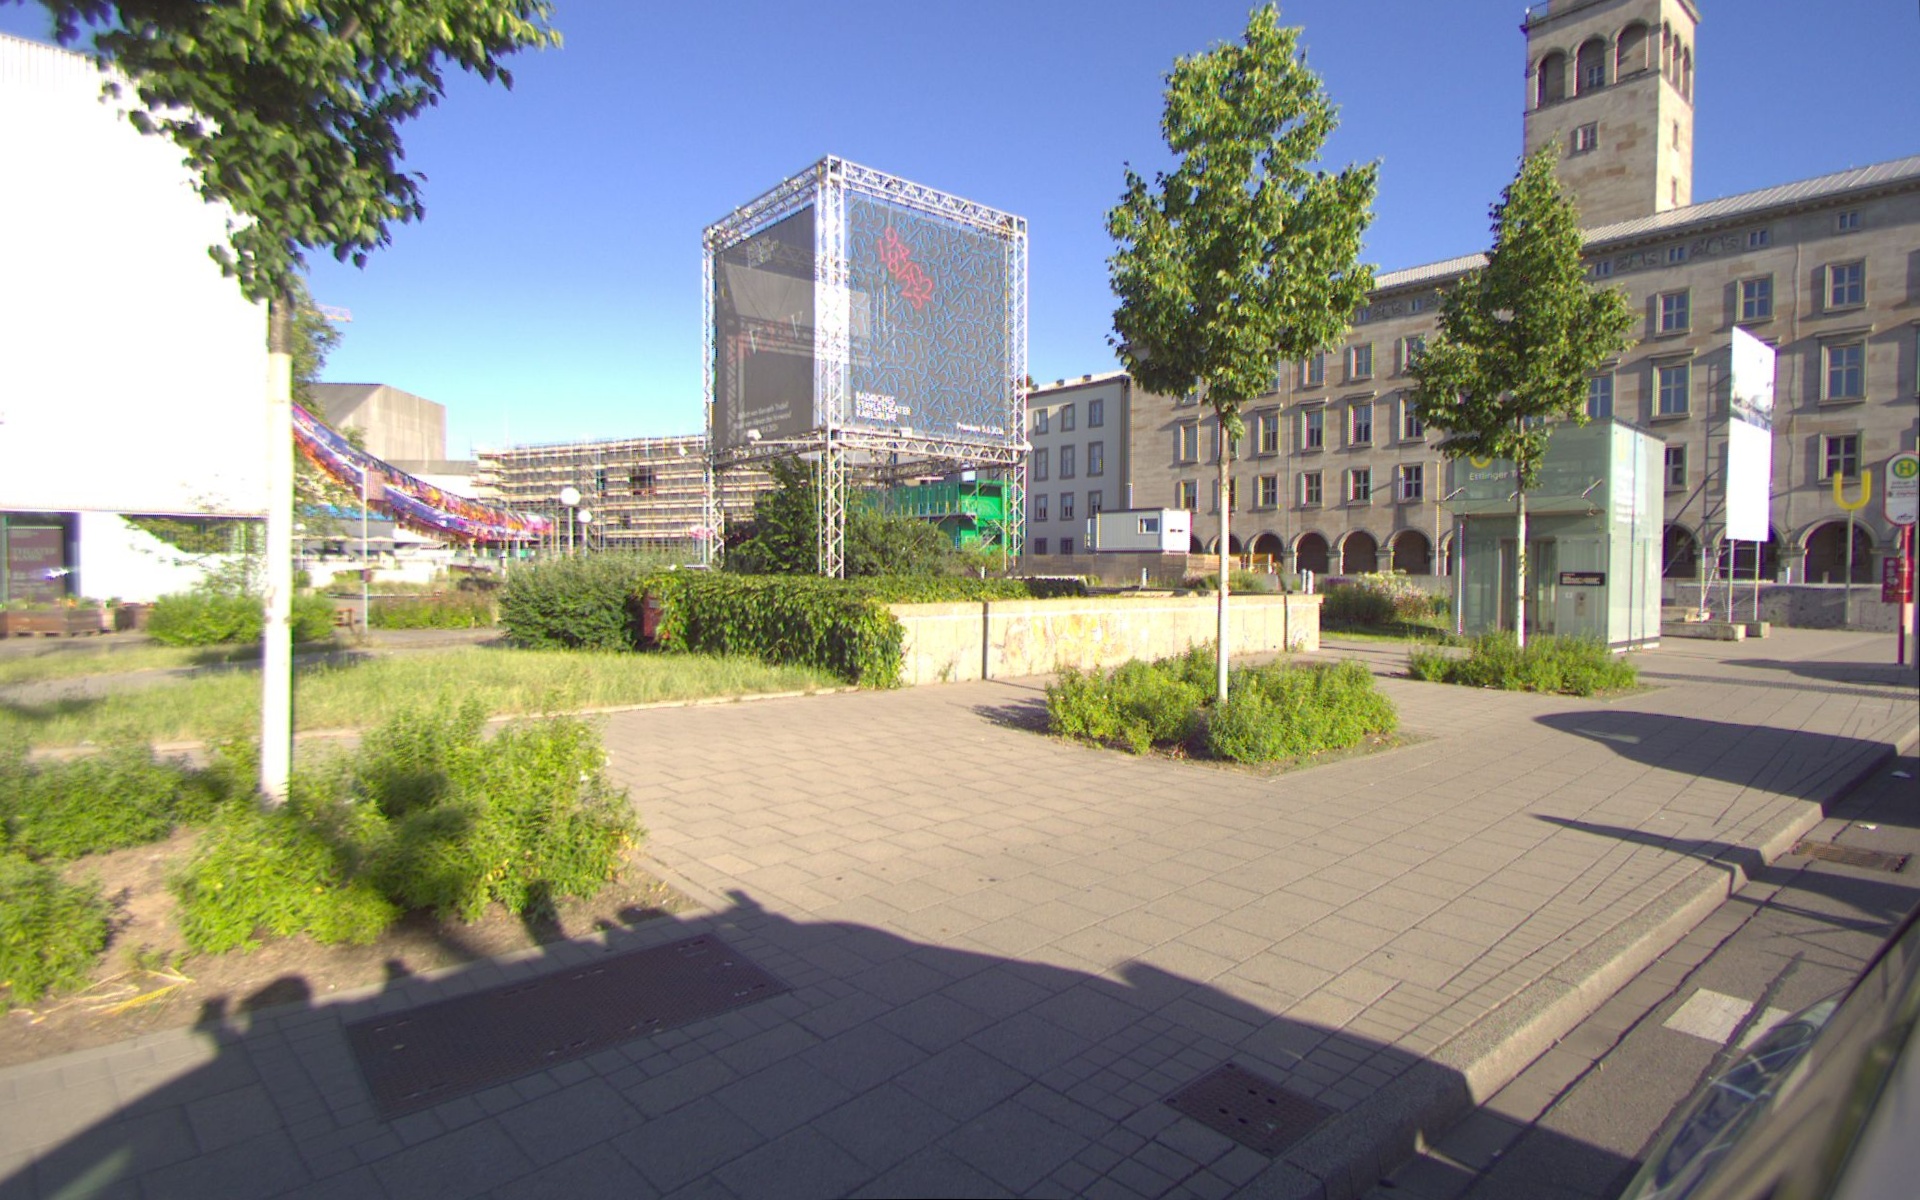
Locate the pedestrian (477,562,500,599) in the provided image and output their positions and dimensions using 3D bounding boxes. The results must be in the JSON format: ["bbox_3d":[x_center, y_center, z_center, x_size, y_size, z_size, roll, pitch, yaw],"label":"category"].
[{"bbox_3d":[-18.225,-0.758,39.118,0.635,1.398,0.632,0,2,-5],"label":"pedestrian"}]
